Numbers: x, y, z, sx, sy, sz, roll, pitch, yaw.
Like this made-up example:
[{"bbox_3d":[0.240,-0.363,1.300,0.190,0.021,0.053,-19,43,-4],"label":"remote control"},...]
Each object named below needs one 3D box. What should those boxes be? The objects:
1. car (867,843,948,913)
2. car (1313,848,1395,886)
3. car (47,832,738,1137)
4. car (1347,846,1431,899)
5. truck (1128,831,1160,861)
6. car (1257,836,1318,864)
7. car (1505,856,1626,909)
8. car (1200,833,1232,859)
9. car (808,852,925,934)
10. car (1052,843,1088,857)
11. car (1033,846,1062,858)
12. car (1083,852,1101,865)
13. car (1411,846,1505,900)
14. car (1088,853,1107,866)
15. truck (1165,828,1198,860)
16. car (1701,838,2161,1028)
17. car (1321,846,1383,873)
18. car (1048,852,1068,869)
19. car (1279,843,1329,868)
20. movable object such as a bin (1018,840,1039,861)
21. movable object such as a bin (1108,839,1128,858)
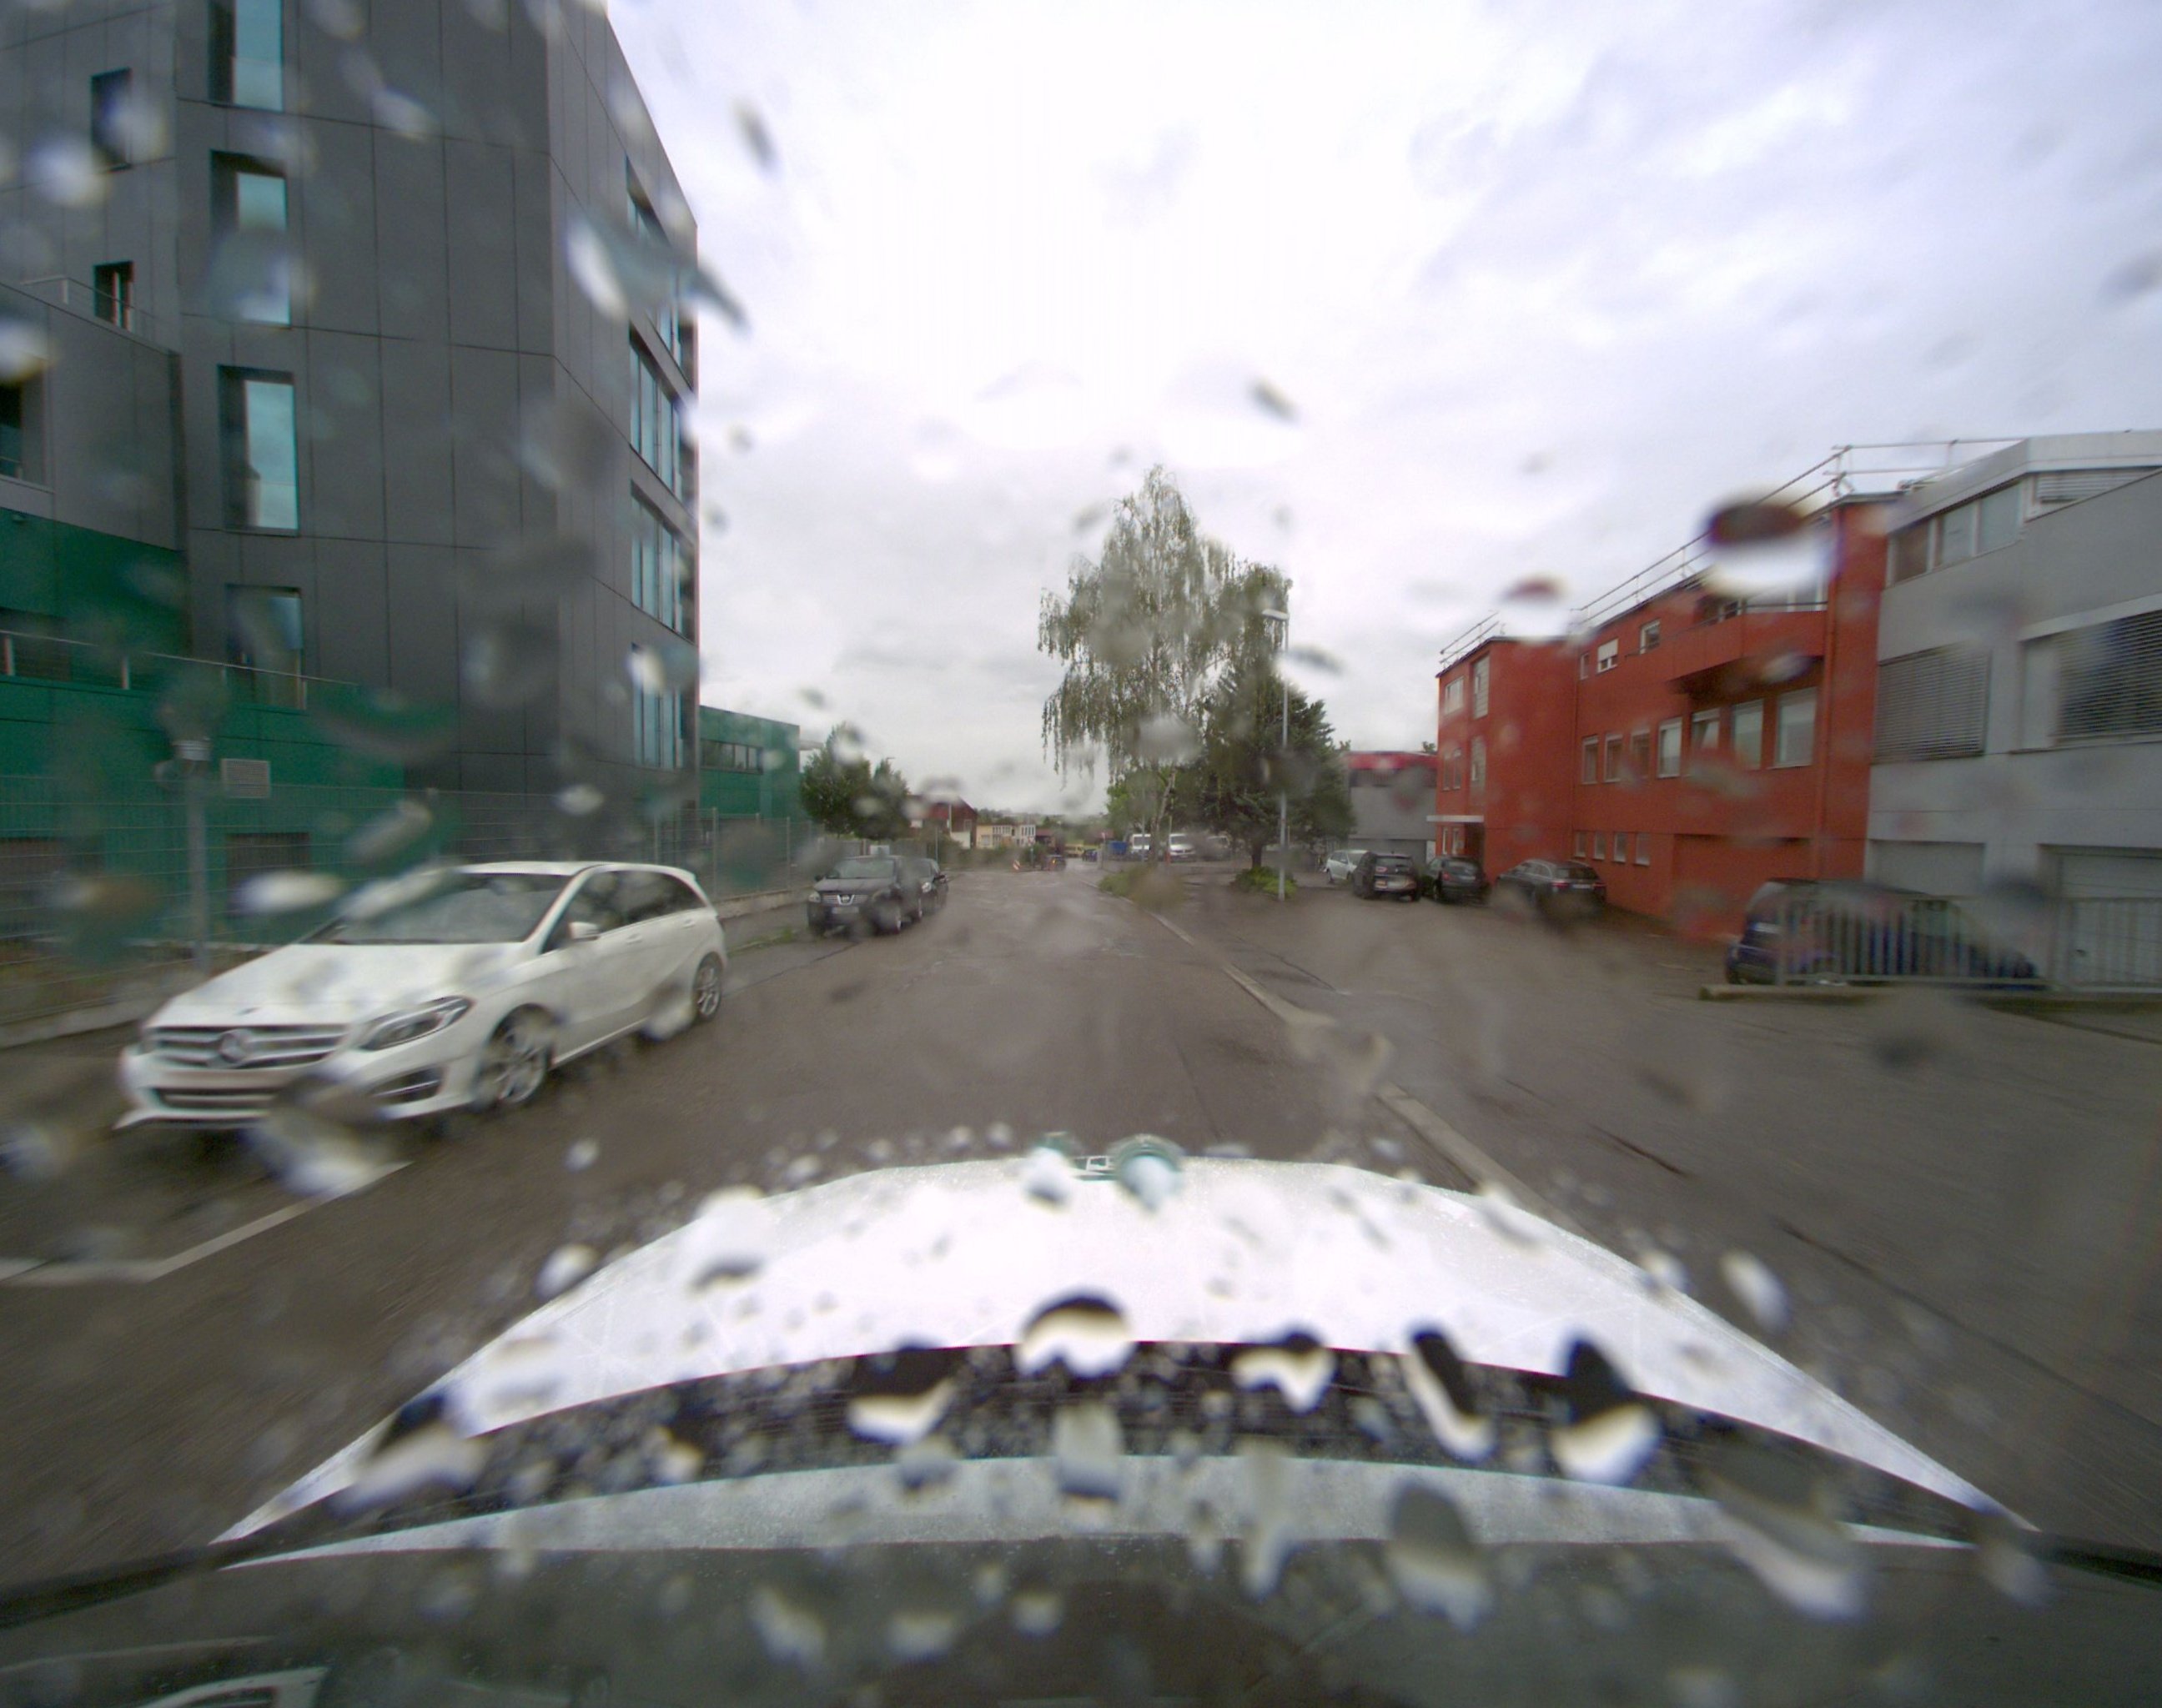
[{"bbox_3d":[-4.778,0.606,22.887,1.737,1.797,3.951,0,0,-5],"label":"car"},{"bbox_3d":[11.393,0.494,34.312,1.899,1.470,4.325,-1,0,-2],"label":"car"},{"bbox_3d":[-4.380,0.652,6.260,1.730,1.536,4.248,0,0,-1],"label":"car"},{"bbox_3d":[10.305,0.554,27.605,1.982,1.579,4.527,2,1,12],"label":"car"},{"bbox_3d":[4.883,-0.606,64.122,2.099,2.214,5.652,0,0,0],"label":"truck"},{"bbox_3d":[14.324,-0.299,56.644,3.900,1.738,1.864,-3,1,9],"label":"car"},{"bbox_3d":[15.564,0.853,26.483,1.957,1.449,4.526,2,1,11],"label":"car"},{"bbox_3d":[10.632,-0.615,64.353,2.047,2.013,4.944,0,0,4],"label":"car"},{"bbox_3d":[-4.490,0.747,17.609,1.628,1.558,4.079,0,0,-3],"label":"car"},{"bbox_3d":[-1.939,-0.755,145.634,5.961,2.415,2.475,0,0,18],"label":"car"},{"bbox_3d":[-5.233,-0.317,128.059,4.353,1.905,2.012,0,0,40],"label":"car"},{"bbox_3d":[1.494,0.593,116.380,2.071,1.835,4.461,0,0,-6],"label":"car"},{"bbox_3d":[12.743,0.583,27.828,1.977,1.678,4.526,0,0,12],"label":"car"},{"bbox_3d":[2.194,0.716,110.198,1.950,1.610,4.435,0,0,-8],"label":"car"},{"bbox_3d":[7.835,-0.751,63.625,2.233,2.342,4.841,0,0,3],"label":"truck"},{"bbox_3d":[9.708,0.808,9.523,3.416,1.498,1.622,9,2,8],"label":"car"},{"bbox_3d":[15.062,0.310,45.413,3.020,1.495,1.632,0,0,5],"label":"car"},{"bbox_3d":[-2.132,0.625,75.737,1.751,1.534,3.995,0,0,-3],"label":"car"},{"bbox_3d":[13.515,0.060,49.459,2.696,1.446,1.682,-1,0,8],"label":"car"},{"bbox_3d":[-6.707,-0.462,104.530,1.721,2.556,3.351,0,0,12],"label":"movable object such as a bin"},{"bbox_3d":[2.992,-0.433,66.670,1.306,1.500,1.853,0,0,-9],"label":"movable object such as a bin"}]
